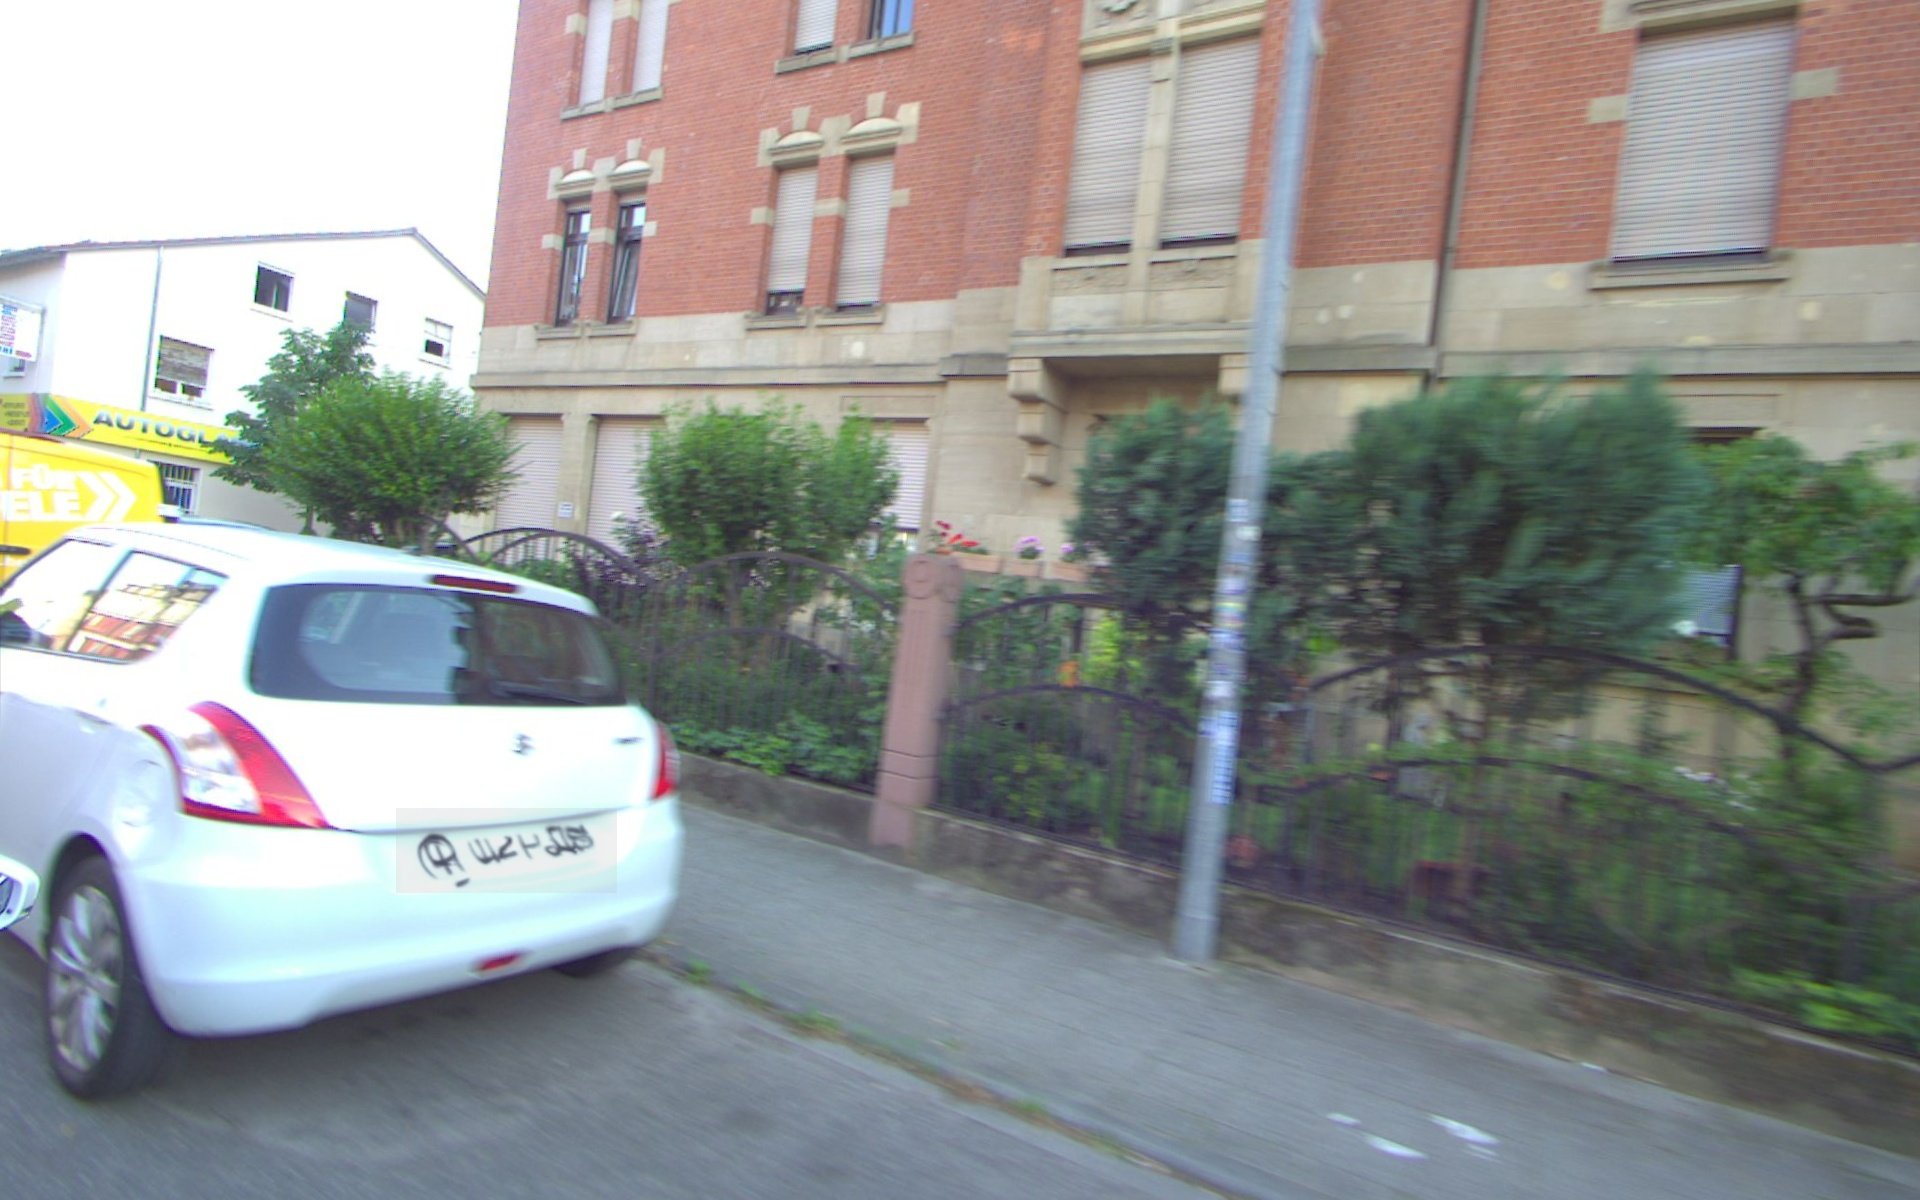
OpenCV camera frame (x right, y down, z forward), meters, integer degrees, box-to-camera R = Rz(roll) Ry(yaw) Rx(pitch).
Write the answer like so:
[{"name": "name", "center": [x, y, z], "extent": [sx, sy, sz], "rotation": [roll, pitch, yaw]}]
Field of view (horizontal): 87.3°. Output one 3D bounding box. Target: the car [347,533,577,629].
[{"name": "car", "center": [-11.202, -0.364, 22.967], "extent": [1.847, 1.692, 4.327], "rotation": [5, -2, 29]}]

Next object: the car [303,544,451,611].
[{"name": "car", "center": [-17.707, -0.694, 30.519], "extent": [4.494, 1.528, 1.744], "rotation": [6, 0, 29]}]

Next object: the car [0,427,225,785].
[{"name": "car", "center": [-7.244, -0.194, 6.647], "extent": [4.996, 1.906, 1.897], "rotation": [7, -1, 31]}]

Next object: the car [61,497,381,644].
[{"name": "car", "center": [-9.742, -0.415, 13.184], "extent": [4.348, 1.442, 1.728], "rotation": [6, 1, 30]}]

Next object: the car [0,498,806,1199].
[{"name": "car", "center": [-2.639, 0.500, 3.815], "extent": [3.799, 1.494, 1.677], "rotation": [6, -1, 34]}]
